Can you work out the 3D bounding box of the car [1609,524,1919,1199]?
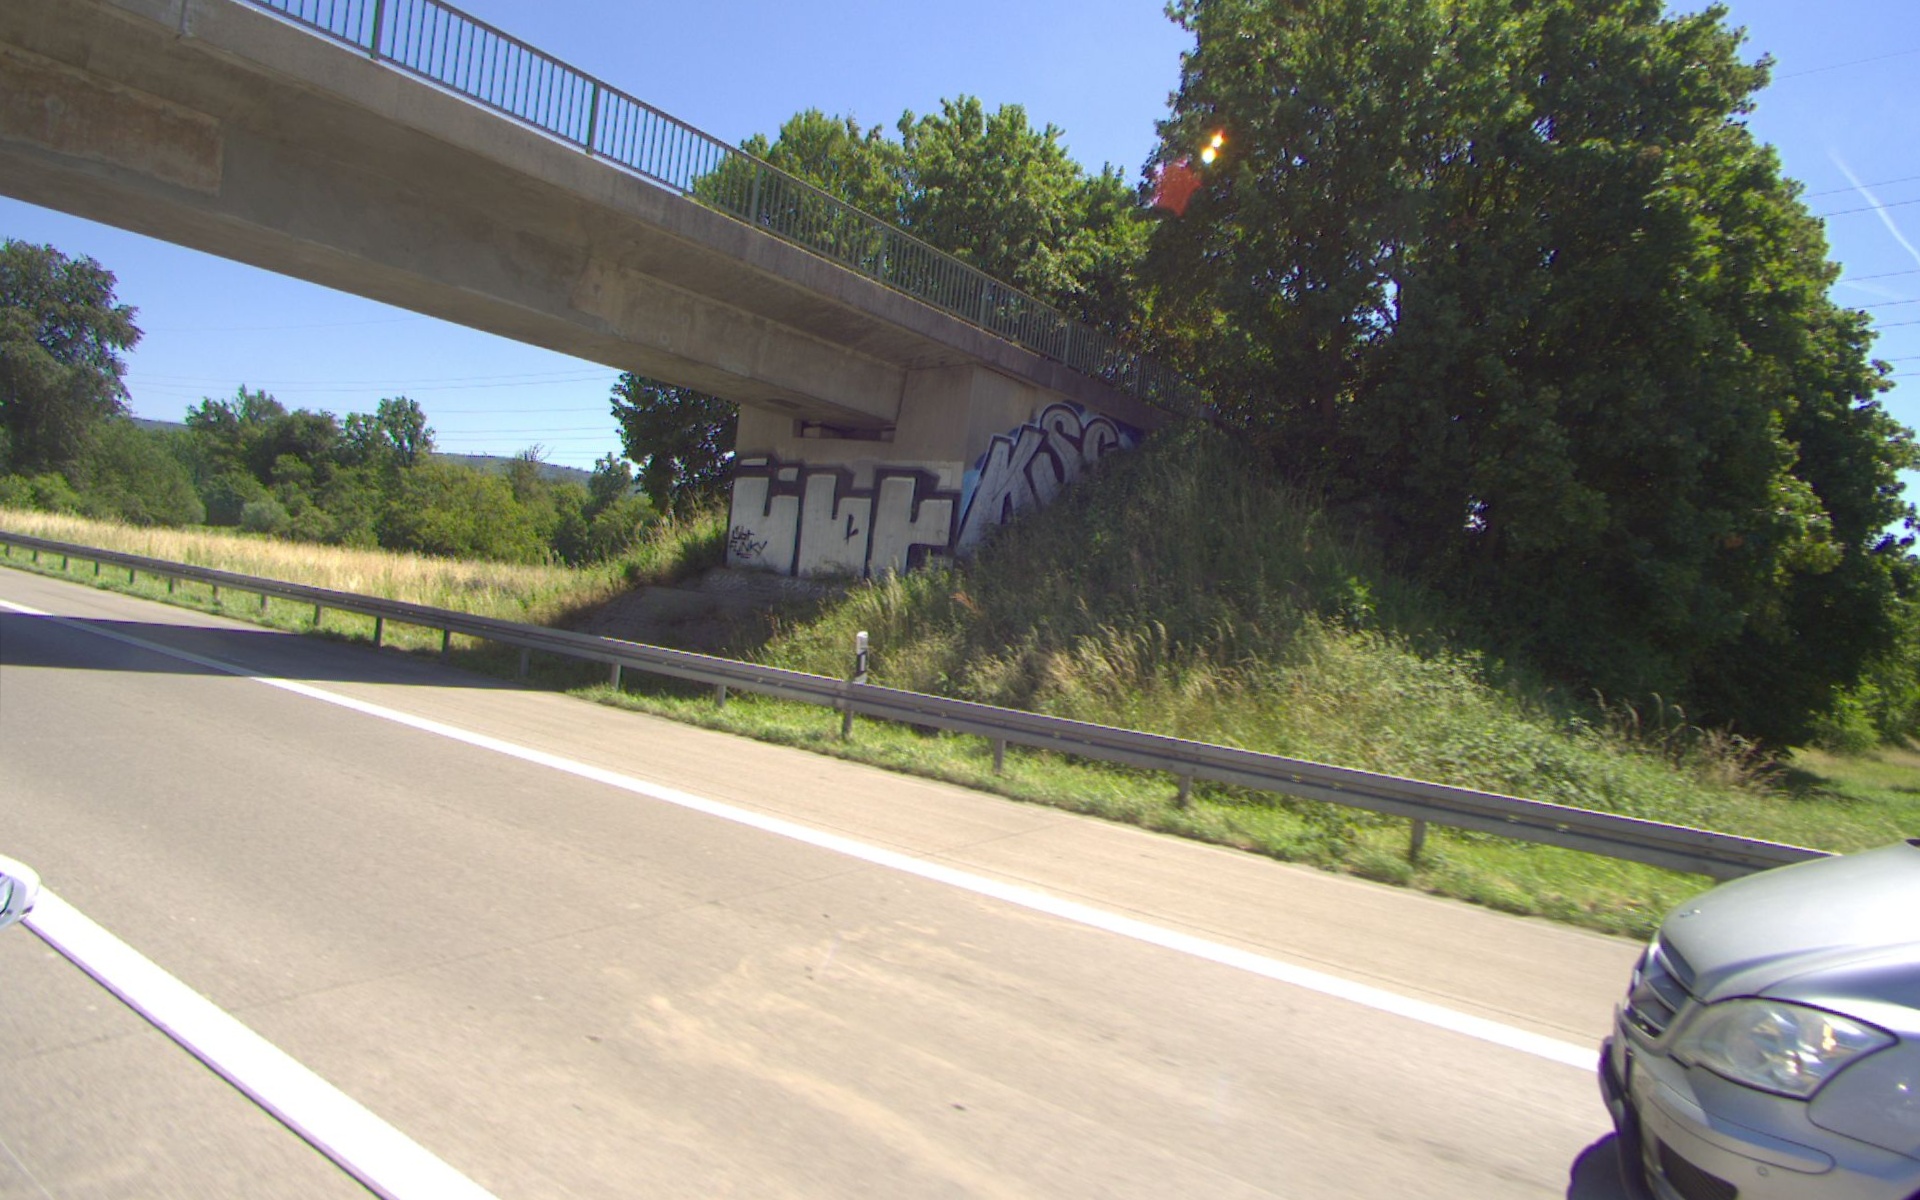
[{"bbox_3d":[4.331,1.114,1.708,5.192,1.911,1.882,7,-1,32],"label":"car"}]
